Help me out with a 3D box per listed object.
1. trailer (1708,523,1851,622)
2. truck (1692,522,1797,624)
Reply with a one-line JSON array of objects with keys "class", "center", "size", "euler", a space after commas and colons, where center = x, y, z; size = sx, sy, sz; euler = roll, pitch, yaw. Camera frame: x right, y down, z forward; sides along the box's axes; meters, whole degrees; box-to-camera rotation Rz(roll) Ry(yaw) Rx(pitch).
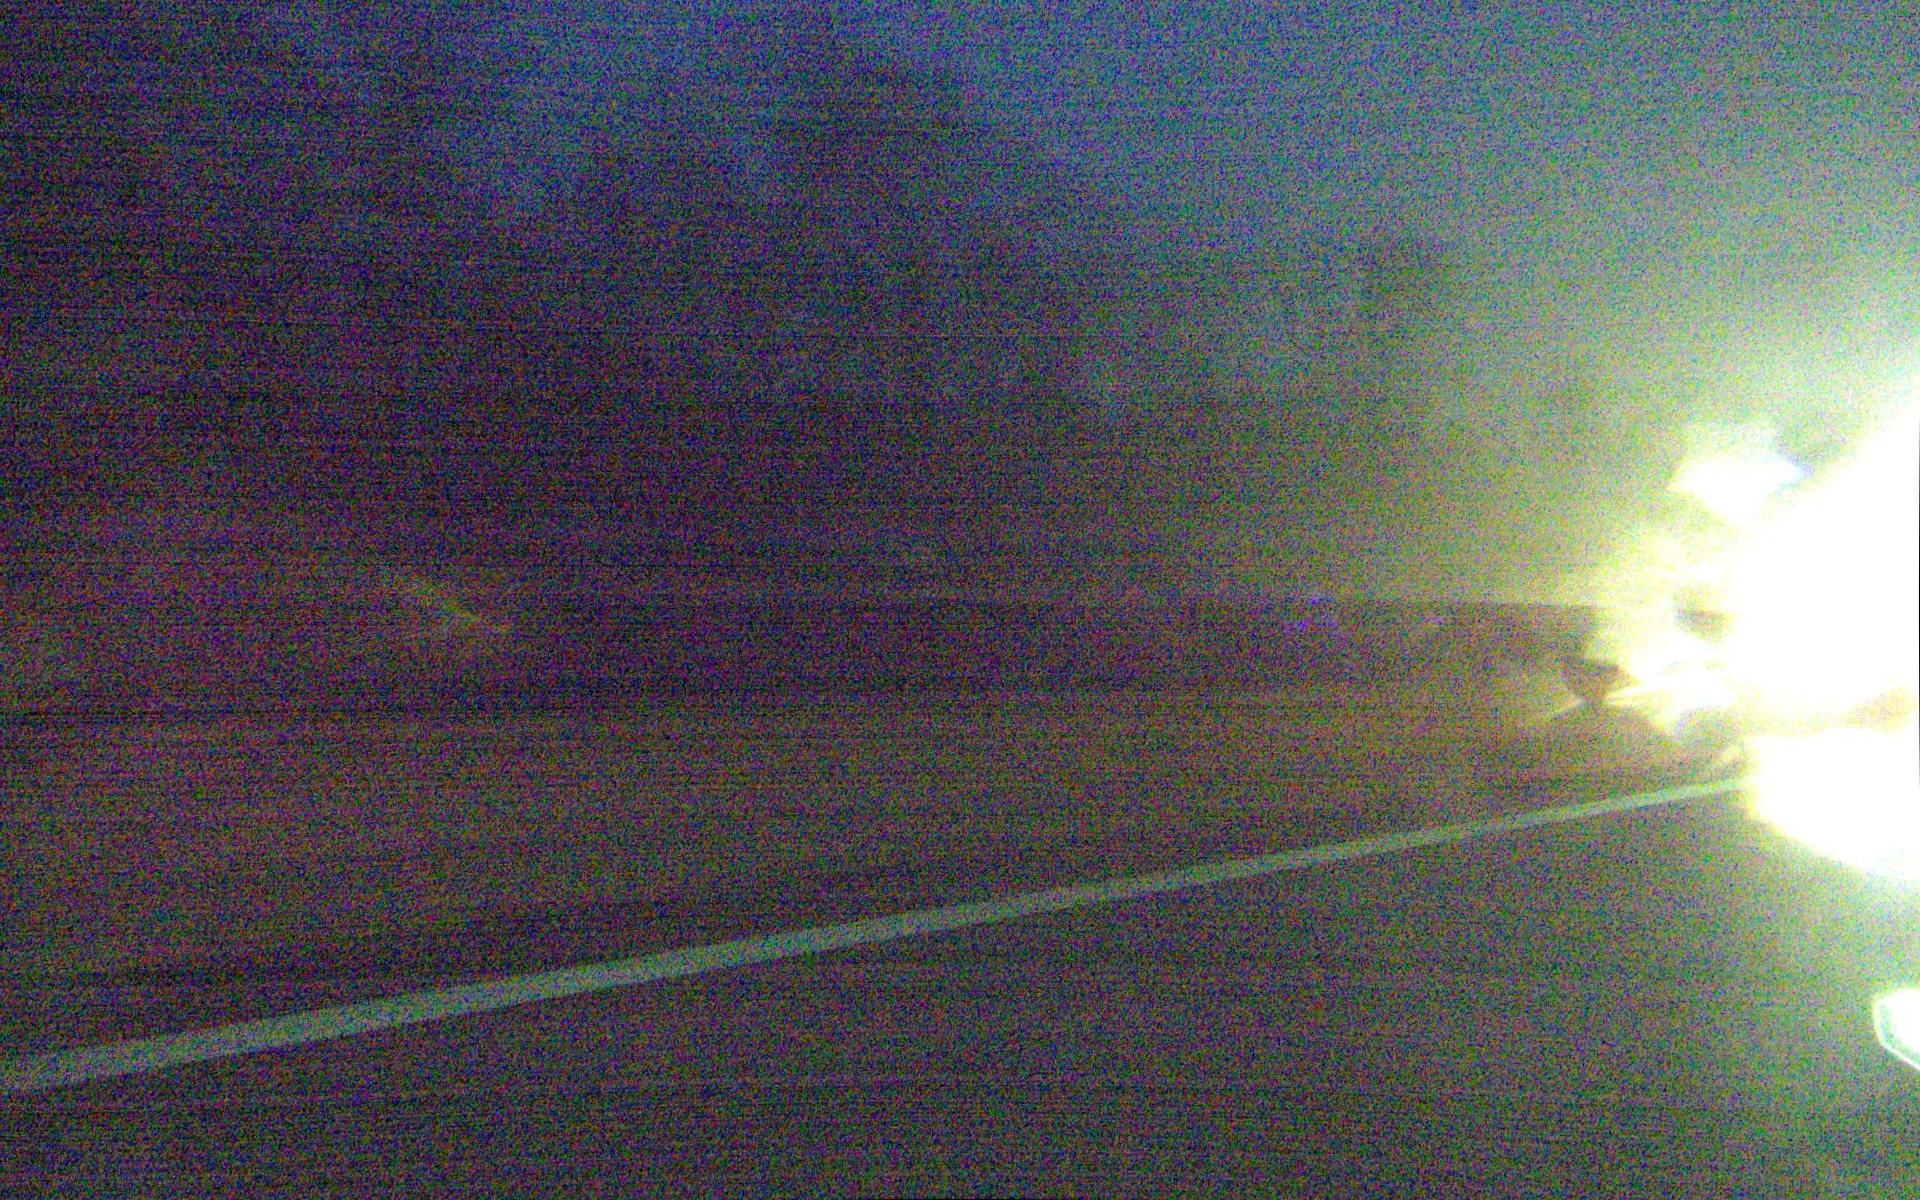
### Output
[{"class": "trailer", "center": [48.042, -1.618, 58.599], "size": [14.795, 5.161, 2.750], "euler": [-1, 5, -37]}, {"class": "truck", "center": [42.476, -1.504, 54.356], "size": [5.827, 5.167, 2.731], "euler": [-1, 5, -37]}]
